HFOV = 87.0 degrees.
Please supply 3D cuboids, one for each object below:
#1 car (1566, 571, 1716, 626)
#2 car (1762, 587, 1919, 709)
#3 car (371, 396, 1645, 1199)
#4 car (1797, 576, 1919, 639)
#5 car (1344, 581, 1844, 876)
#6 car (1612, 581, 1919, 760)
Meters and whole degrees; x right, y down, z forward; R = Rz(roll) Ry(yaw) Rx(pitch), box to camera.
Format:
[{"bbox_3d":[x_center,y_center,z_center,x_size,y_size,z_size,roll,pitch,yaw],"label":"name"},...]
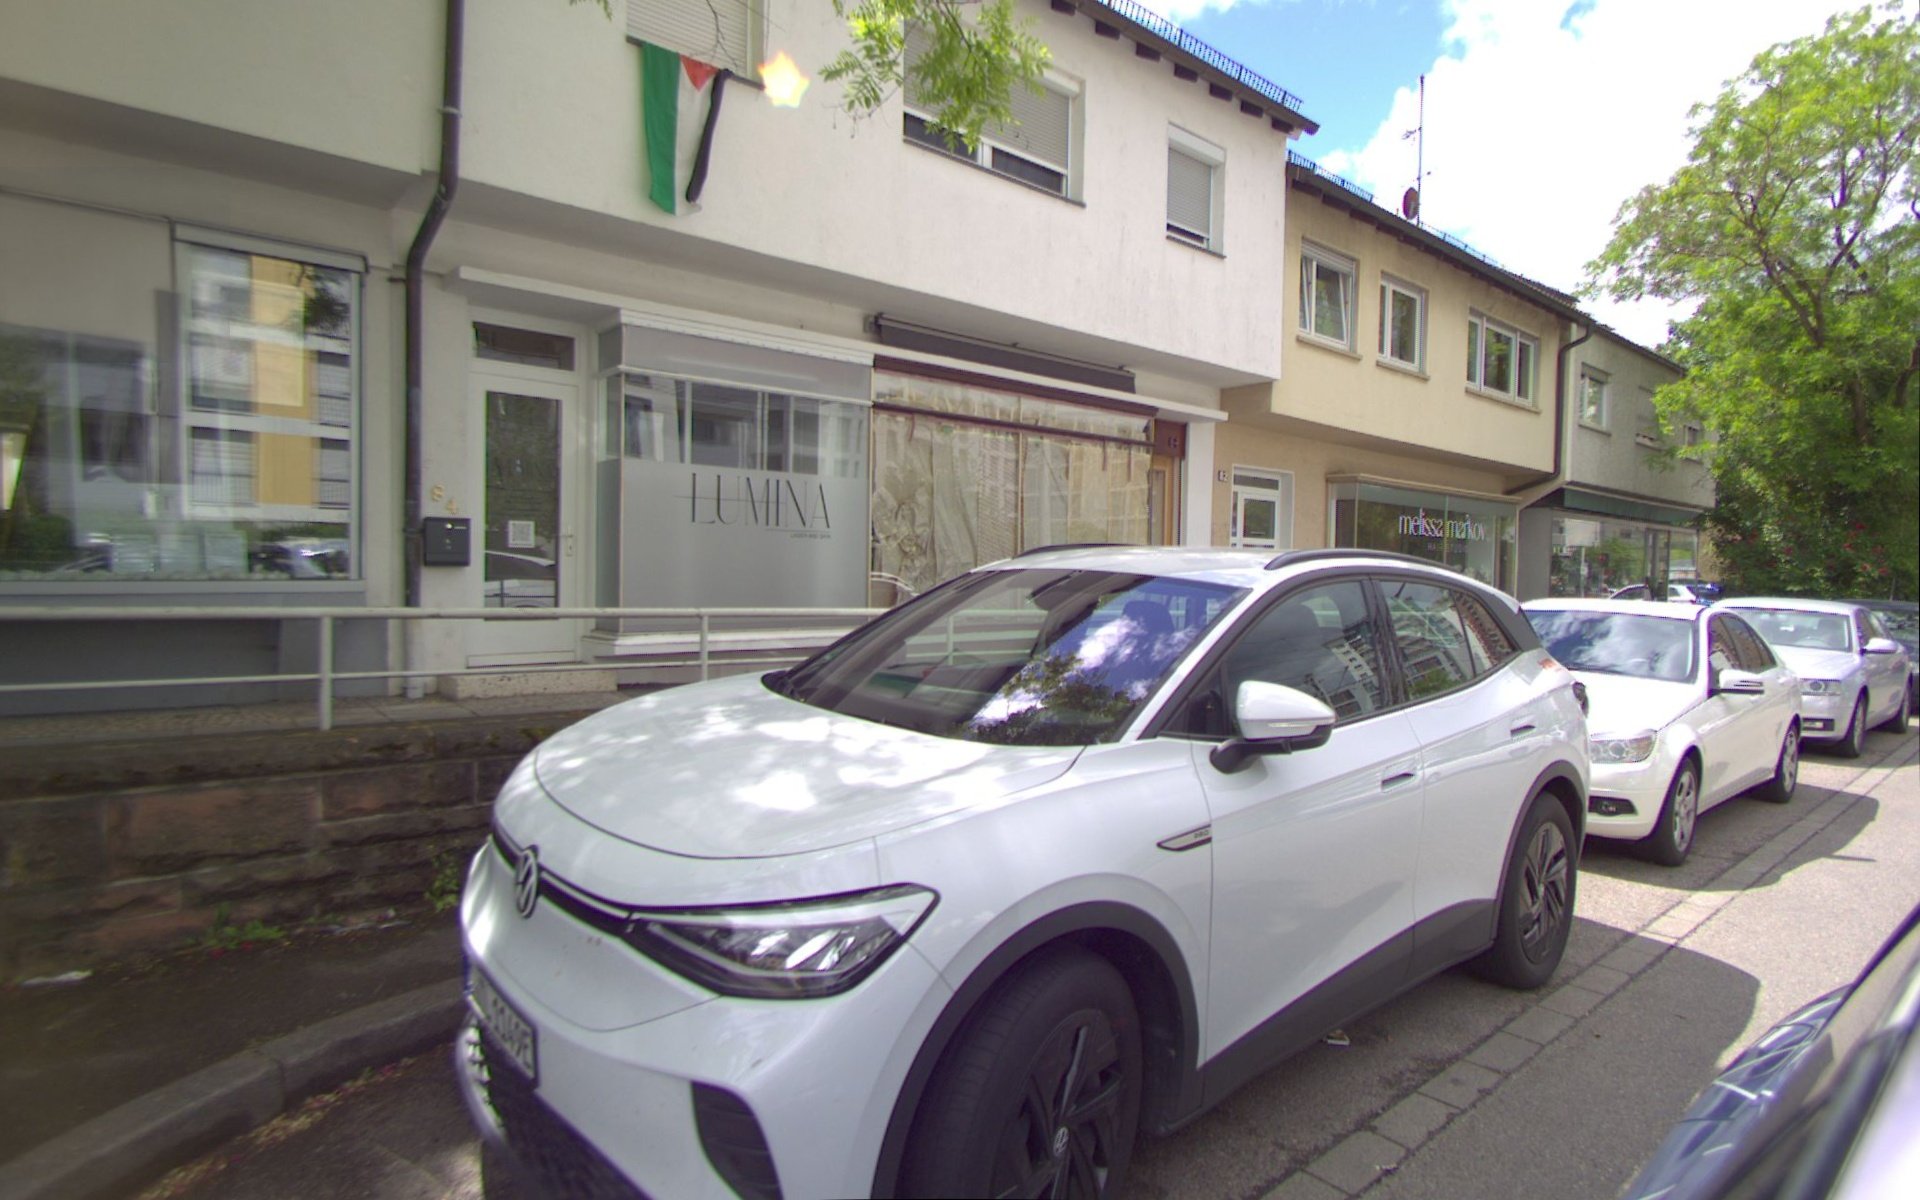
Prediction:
[{"bbox_3d":[22.410,-0.103,33.372,3.919,1.537,1.778,5,3,39],"label":"car"},{"bbox_3d":[13.090,0.589,14.378,3.968,1.481,1.818,0,2,-39],"label":"car"},{"bbox_3d":[0.628,0.525,3.501,4.353,1.664,1.841,0,1,-41],"label":"car"},{"bbox_3d":[26.461,0.200,28.774,1.805,1.590,3.655,0,4,-29],"label":"car"},{"bbox_3d":[4.643,0.618,7.120,4.367,1.444,1.728,0,2,-40],"label":"car"},{"bbox_3d":[9.020,0.586,10.989,4.822,1.517,1.818,0,2,-39],"label":"car"}]
